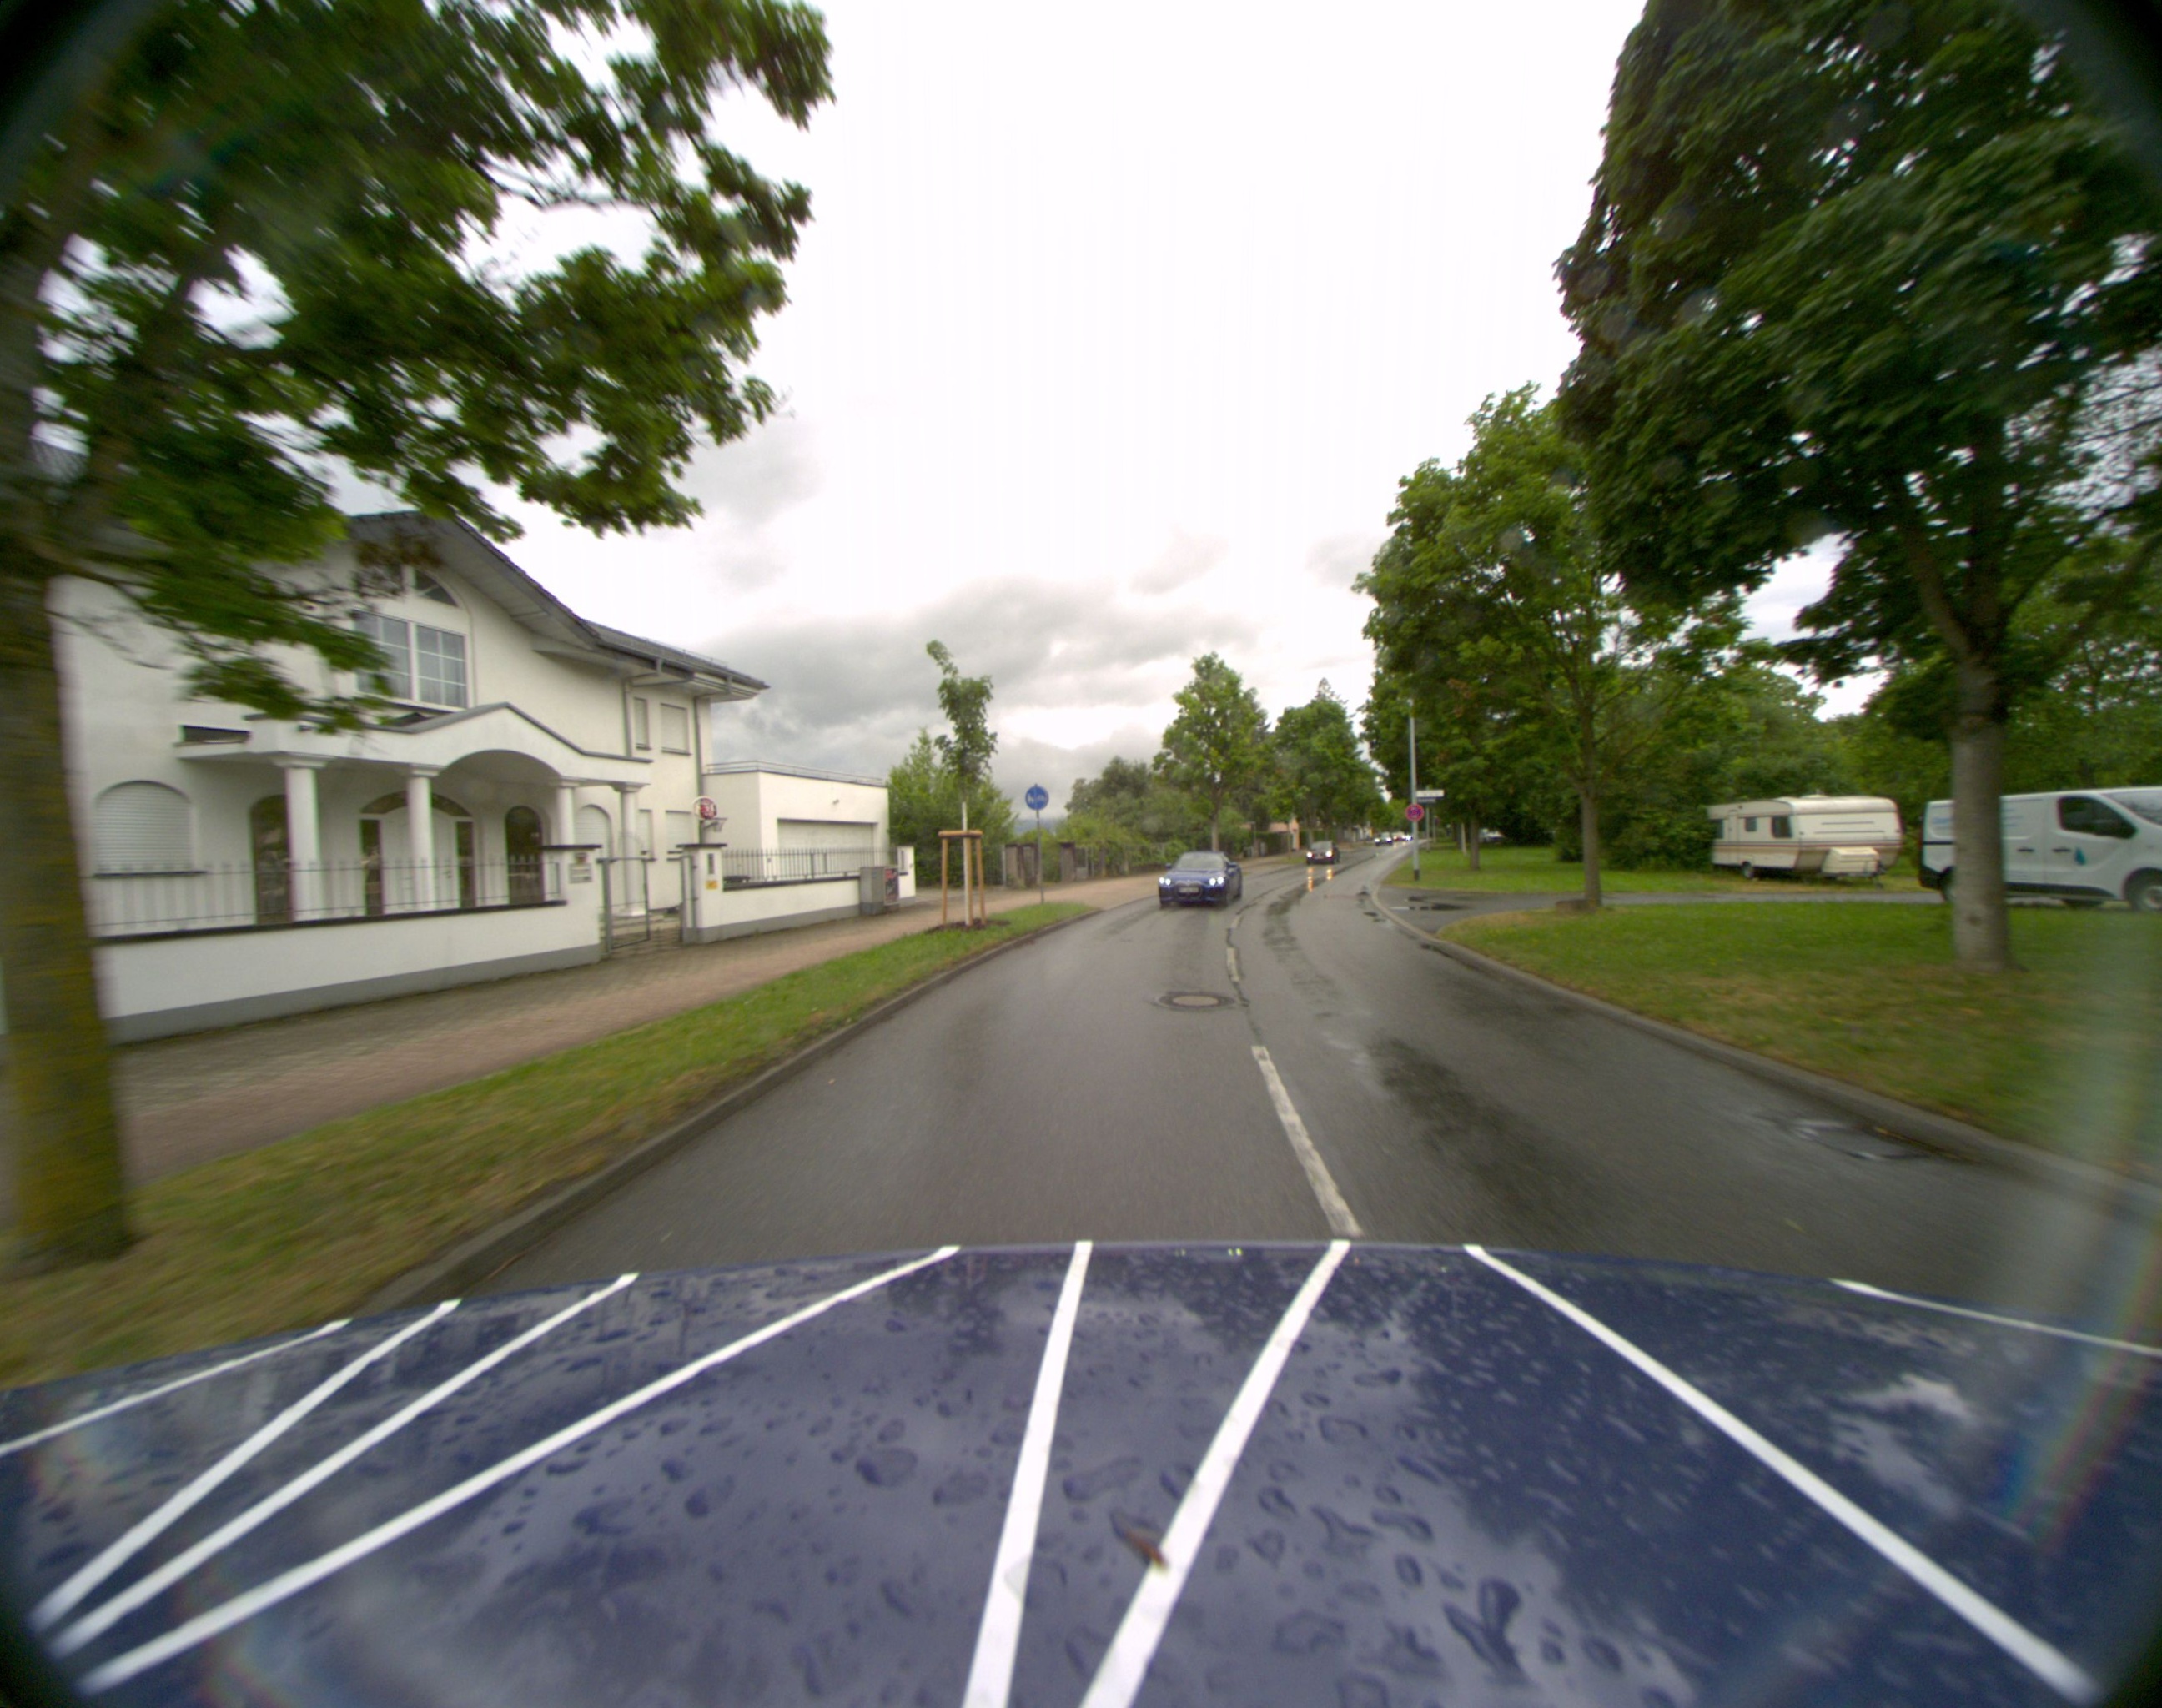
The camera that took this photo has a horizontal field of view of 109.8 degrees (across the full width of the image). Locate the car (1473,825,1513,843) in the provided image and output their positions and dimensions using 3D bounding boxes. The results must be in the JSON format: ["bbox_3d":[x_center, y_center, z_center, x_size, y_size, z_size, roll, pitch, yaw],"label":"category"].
[{"bbox_3d":[37.375,-1.796,69.038,1.884,1.421,4.220,-2,-1,8],"label":"car"}]

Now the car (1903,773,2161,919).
[{"bbox_3d":[16.129,-0.075,11.683,2.130,1.974,5.482,0,-1,15],"label":"car"}]

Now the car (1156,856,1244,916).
[{"bbox_3d":[3.501,0.848,21.752,1.813,1.459,3.980,-1,1,19],"label":"car"}]

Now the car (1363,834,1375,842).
[{"bbox_3d":[56.023,-3.157,147.704,1.663,1.413,4.006,-4,0,27],"label":"car"}]

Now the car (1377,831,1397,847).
[{"bbox_3d":[38.029,-1.891,94.431,1.995,1.848,4.006,-4,1,26],"label":"car"}]

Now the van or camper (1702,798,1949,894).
[{"bbox_3d":[21.112,-0.277,22.156,2.387,2.347,6.818,-1,2,18],"label":"van or camper"}]

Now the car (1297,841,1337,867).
[{"bbox_3d":[15.333,-0.010,49.202,1.926,1.374,4.314,-4,1,23],"label":"car"}]
